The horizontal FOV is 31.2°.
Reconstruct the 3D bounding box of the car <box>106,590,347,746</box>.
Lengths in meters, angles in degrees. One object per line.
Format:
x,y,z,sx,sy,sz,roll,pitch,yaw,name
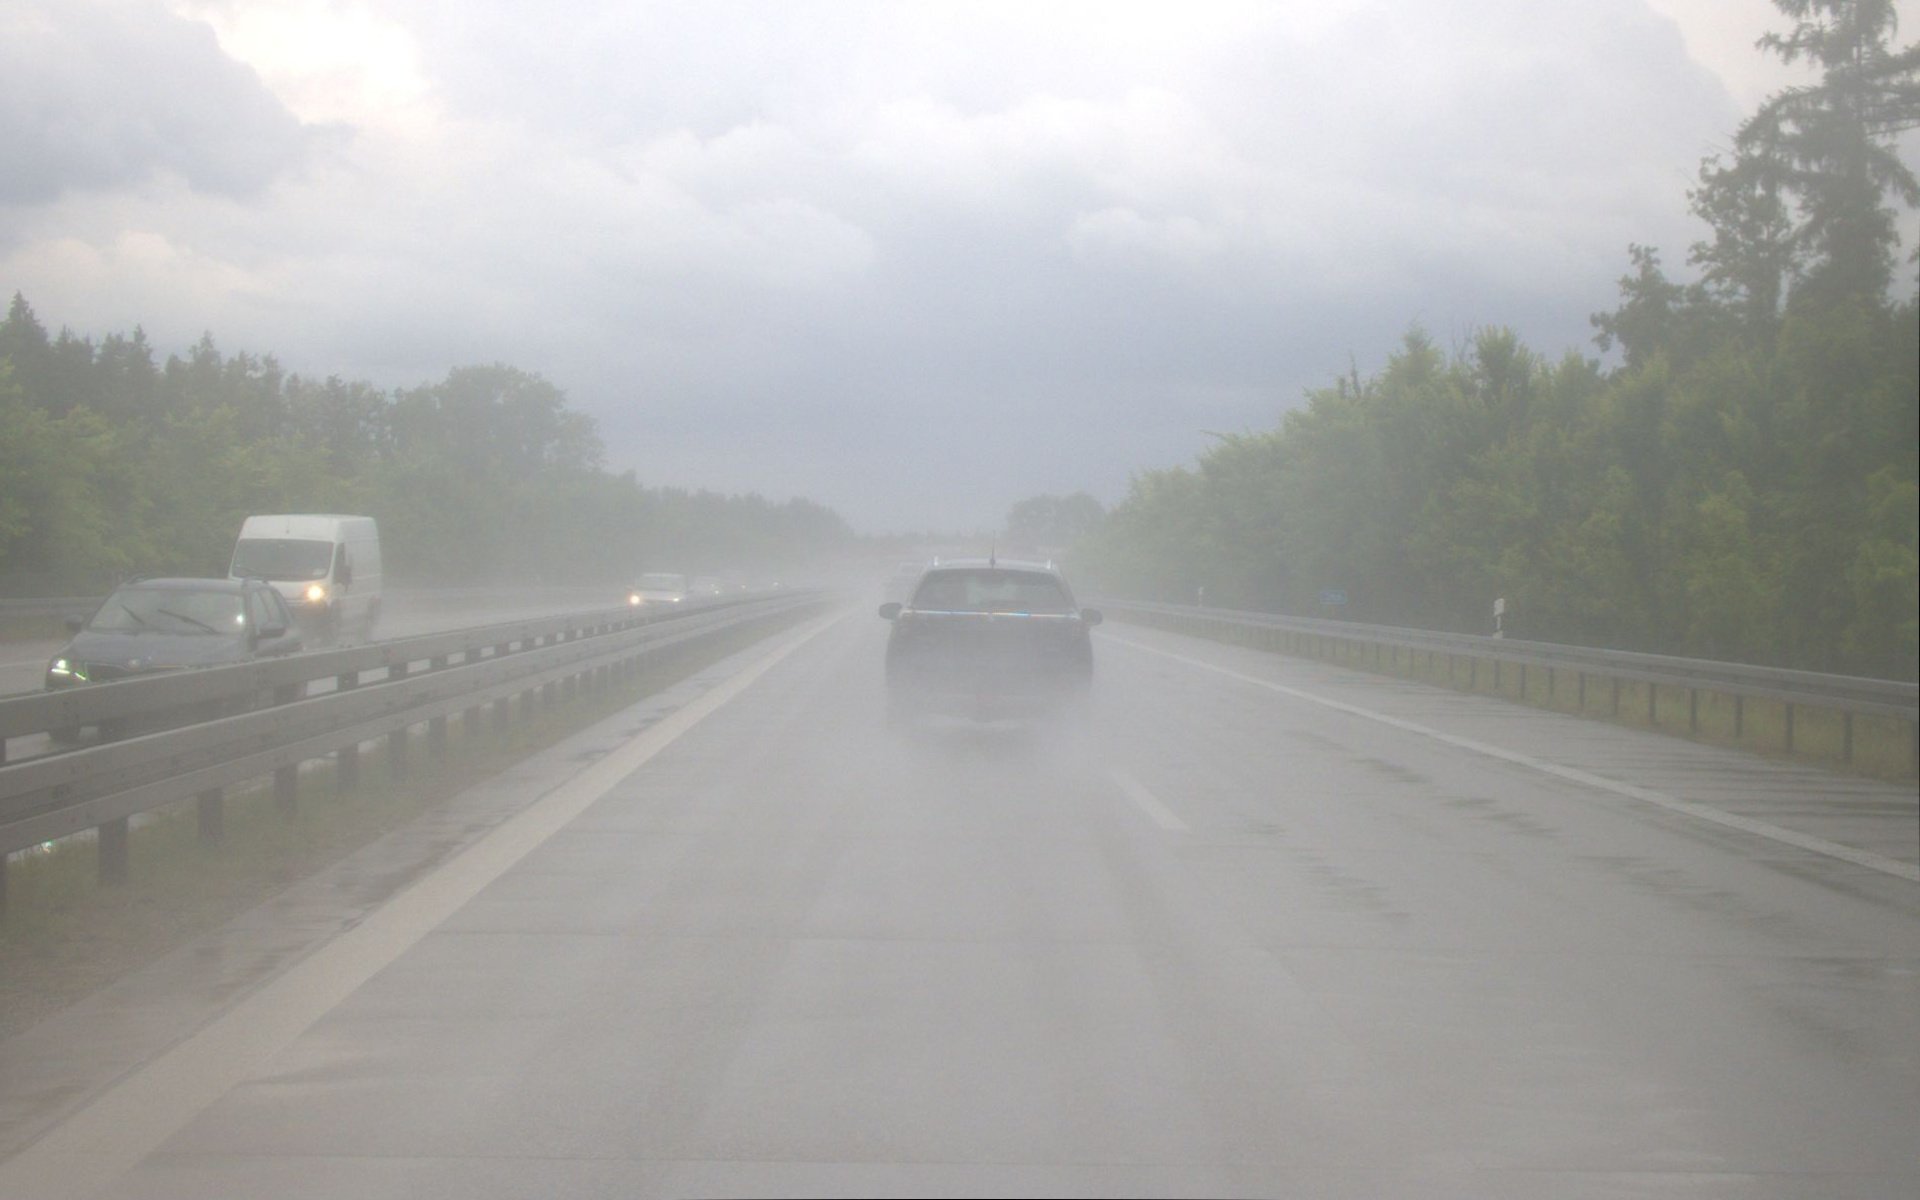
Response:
-7.376,0.643,34.966,1.767,1.413,4.607,0,1,-4,car

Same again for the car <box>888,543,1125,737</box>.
0.355,0.358,30.781,1.894,1.571,3.632,2,-1,-2,car
